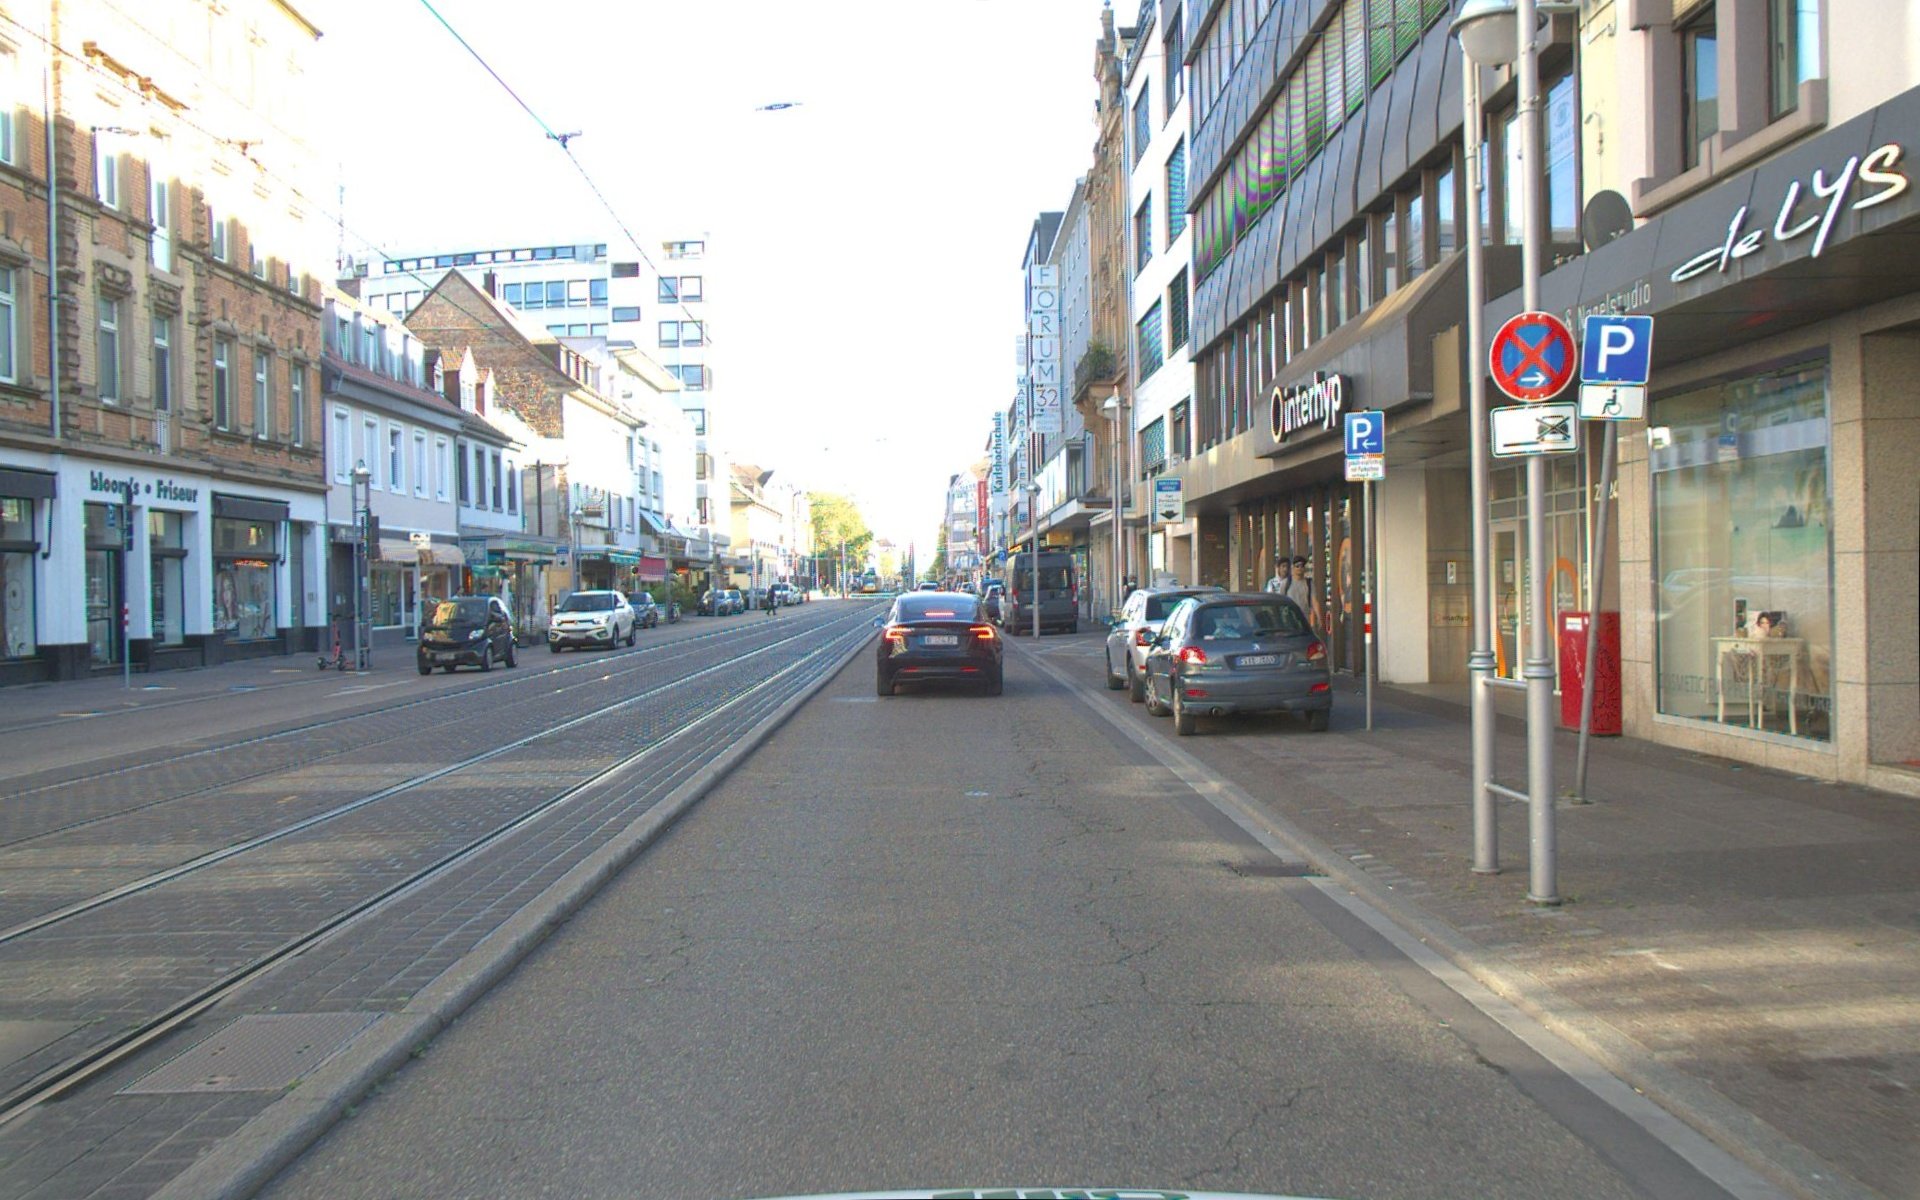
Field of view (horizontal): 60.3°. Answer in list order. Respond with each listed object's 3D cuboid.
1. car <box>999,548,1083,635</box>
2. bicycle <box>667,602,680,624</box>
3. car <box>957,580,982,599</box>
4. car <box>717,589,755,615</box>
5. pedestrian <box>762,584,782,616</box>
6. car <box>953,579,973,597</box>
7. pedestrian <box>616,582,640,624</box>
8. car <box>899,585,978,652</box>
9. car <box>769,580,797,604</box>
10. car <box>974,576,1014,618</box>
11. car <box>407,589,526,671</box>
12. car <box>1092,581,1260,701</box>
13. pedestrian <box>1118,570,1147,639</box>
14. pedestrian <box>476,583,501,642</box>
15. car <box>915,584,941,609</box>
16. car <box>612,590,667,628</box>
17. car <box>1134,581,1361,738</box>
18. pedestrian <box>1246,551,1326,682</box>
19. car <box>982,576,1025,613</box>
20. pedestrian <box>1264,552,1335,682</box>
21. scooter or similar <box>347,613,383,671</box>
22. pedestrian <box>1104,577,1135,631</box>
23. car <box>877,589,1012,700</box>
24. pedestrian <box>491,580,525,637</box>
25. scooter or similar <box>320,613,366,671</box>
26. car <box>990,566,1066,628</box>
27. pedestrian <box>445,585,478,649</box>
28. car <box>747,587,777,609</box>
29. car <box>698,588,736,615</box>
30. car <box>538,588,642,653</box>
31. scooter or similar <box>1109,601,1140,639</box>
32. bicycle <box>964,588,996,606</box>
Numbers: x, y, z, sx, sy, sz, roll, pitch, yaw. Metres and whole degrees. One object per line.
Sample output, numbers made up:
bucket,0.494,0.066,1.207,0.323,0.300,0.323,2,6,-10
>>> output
car,2.485,-0.295,52.376,2.128,2.504,5.360,-3,1,-2
bicycle,-13.752,0.618,79.302,0.363,1.019,1.596,-2,0,-19
car,0.804,-0.854,139.790,1.953,1.570,3.999,-1,0,-1
car,-14.419,0.116,106.646,1.733,1.534,3.862,-1,1,2
pedestrian,-10.987,-0.003,96.755,0.757,1.881,0.827,-1,0,29
car,0.294,-1.201,168.279,1.953,1.784,3.999,-1,0,-1
pedestrian,-11.963,0.104,59.667,0.611,1.469,0.874,-1,0,3
car,-0.486,0.411,38.932,1.726,1.443,4.354,-1,0,0
car,-15.313,-0.698,143.189,1.968,1.995,4.723,-2,1,-1
car,1.584,-0.169,78.911,1.784,1.903,3.753,-1,1,-1
car,-10.230,0.589,34.454,1.615,1.593,2.829,-1,0,-1
car,2.954,0.508,23.464,1.710,1.487,4.295,-2,1,-1
pedestrian,4.494,0.120,43.064,0.545,1.744,0.954,-3,0,-2
pedestrian,-14.968,0.393,52.510,0.644,1.855,0.641,-1,0,-7
car,-2.534,-0.326,131.187,2.042,1.903,3.753,-1,1,-1
car,-14.005,0.366,72.444,1.641,1.573,3.744,1,1,1
car,3.091,0.568,18.615,1.810,1.487,4.303,-2,1,1
pedestrian,4.864,0.235,24.743,0.904,1.874,0.999,-3,0,0
car,1.874,-0.251,72.777,1.716,1.525,3.753,-2,1,-1
pedestrian,4.793,0.228,23.406,0.763,1.782,1.032,-1,0,0
scooter or similar,-13.155,0.913,36.589,0.357,1.223,1.476,1,1,-4
pedestrian,4.795,0.121,49.716,0.753,1.570,0.804,-3,0,-1
car,-0.230,0.600,24.932,1.831,1.452,4.364,-1,1,-1
pedestrian,-14.522,0.274,53.156,0.868,1.806,0.688,-1,0,-3
scooter or similar,-13.632,0.922,36.574,0.568,1.223,1.476,0,0,-4
car,2.369,-0.125,58.920,2.116,1.959,4.614,-4,1,-4
pedestrian,-14.338,0.491,47.538,0.600,1.806,0.719,-1,0,12
car,-14.832,-0.173,123.972,1.682,1.599,3.850,-1,1,1
car,-14.706,0.086,100.223,1.733,1.534,3.864,-2,1,0
car,-10.167,0.527,45.757,1.851,1.621,4.262,-3,1,0
scooter or similar,4.381,0.520,44.125,0.581,0.952,1.298,-3,1,-3
bicycle,1.330,-0.216,110.982,2.116,1.116,0.686,-2,0,-4
